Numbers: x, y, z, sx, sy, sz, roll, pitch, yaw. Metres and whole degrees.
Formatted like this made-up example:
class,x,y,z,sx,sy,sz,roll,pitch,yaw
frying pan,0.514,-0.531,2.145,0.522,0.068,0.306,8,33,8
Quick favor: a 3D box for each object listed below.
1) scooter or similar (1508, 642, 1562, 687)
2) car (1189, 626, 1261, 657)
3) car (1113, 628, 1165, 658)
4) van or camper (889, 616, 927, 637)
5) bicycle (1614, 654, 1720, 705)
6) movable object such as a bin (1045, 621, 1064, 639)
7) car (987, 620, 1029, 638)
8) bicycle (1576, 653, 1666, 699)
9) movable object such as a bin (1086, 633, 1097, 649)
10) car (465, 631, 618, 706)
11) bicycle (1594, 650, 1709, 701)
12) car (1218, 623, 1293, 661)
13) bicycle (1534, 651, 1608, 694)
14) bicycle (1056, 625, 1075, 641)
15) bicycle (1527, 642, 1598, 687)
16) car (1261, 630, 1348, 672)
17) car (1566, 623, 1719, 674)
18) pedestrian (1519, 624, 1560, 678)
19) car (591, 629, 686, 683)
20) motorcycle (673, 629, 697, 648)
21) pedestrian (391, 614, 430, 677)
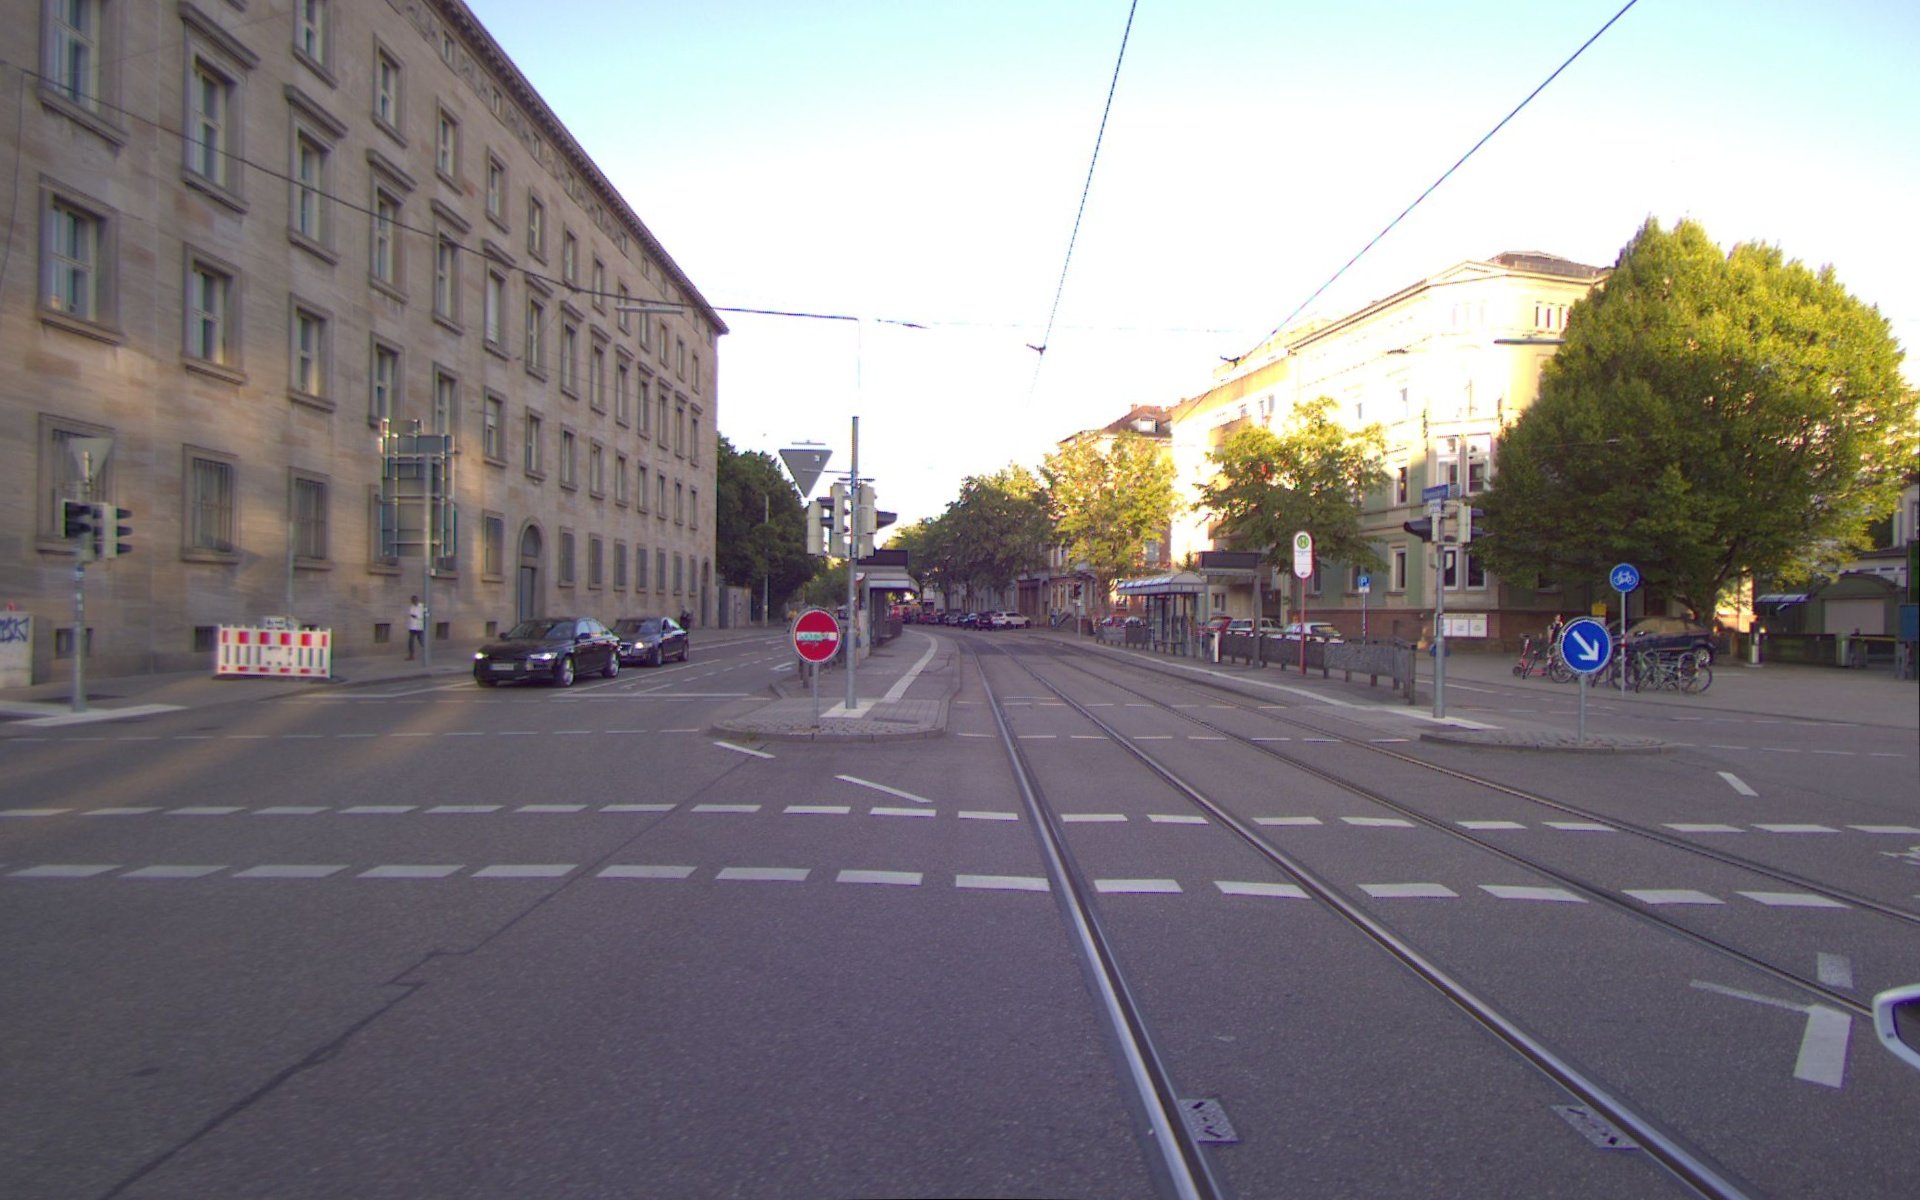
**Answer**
class,x,y,z,sx,sy,sz,roll,pitch,yaw
scooter or similar,16.530,1.845,28.877,1.180,1.241,0.591,-1,-1,0
car,13.633,2.115,51.524,4.180,1.473,1.624,2,-2,-43
car,10.718,2.550,60.523,1.718,1.653,4.081,-1,-1,-11
van or camper,-7.239,3.670,140.055,2.057,2.564,5.519,-3,-1,41
bicycle,16.165,1.805,23.008,1.829,1.089,0.744,-1,-1,17
movable object such as a bin,7.996,2.547,84.963,1.125,1.522,1.395,1,-1,-14
car,4.432,2.696,93.047,3.928,1.648,1.652,2,-2,-44
bicycle,16.338,1.871,24.836,1.726,1.089,0.744,1,-1,1
movable object such as a bin,9.301,2.899,71.163,0.701,1.169,0.588,1,-1,-1
car,-9.085,1.440,22.217,1.615,1.446,4.232,1,-1,0
bicycle,16.527,1.798,24.041,2.193,1.147,0.744,0,-1,1
car,14.409,2.033,48.922,1.699,1.748,4.183,2,0,45
bicycle,16.232,1.917,26.708,1.525,1.089,0.744,1,-1,1
bicycle,8.613,2.672,81.786,0.593,1.283,1.908,-1,-1,41
bicycle,16.555,1.769,27.633,1.500,1.178,0.744,1,-1,1
car,14.423,2.088,42.300,1.655,1.573,3.992,-2,-1,-11
car,22.818,1.607,33.698,3.918,1.595,1.803,1,0,-1
pedestrian,19.550,1.705,33.886,0.697,1.791,0.986,1,-1,-15
car,-9.387,1.612,29.635,1.615,1.446,3.705,1,-1,0
motorcycle,-15.864,2.205,58.042,0.687,1.089,2.654,0,-1,0
pedestrian,-15.250,1.251,27.893,0.684,1.732,0.646,1,-1,2
